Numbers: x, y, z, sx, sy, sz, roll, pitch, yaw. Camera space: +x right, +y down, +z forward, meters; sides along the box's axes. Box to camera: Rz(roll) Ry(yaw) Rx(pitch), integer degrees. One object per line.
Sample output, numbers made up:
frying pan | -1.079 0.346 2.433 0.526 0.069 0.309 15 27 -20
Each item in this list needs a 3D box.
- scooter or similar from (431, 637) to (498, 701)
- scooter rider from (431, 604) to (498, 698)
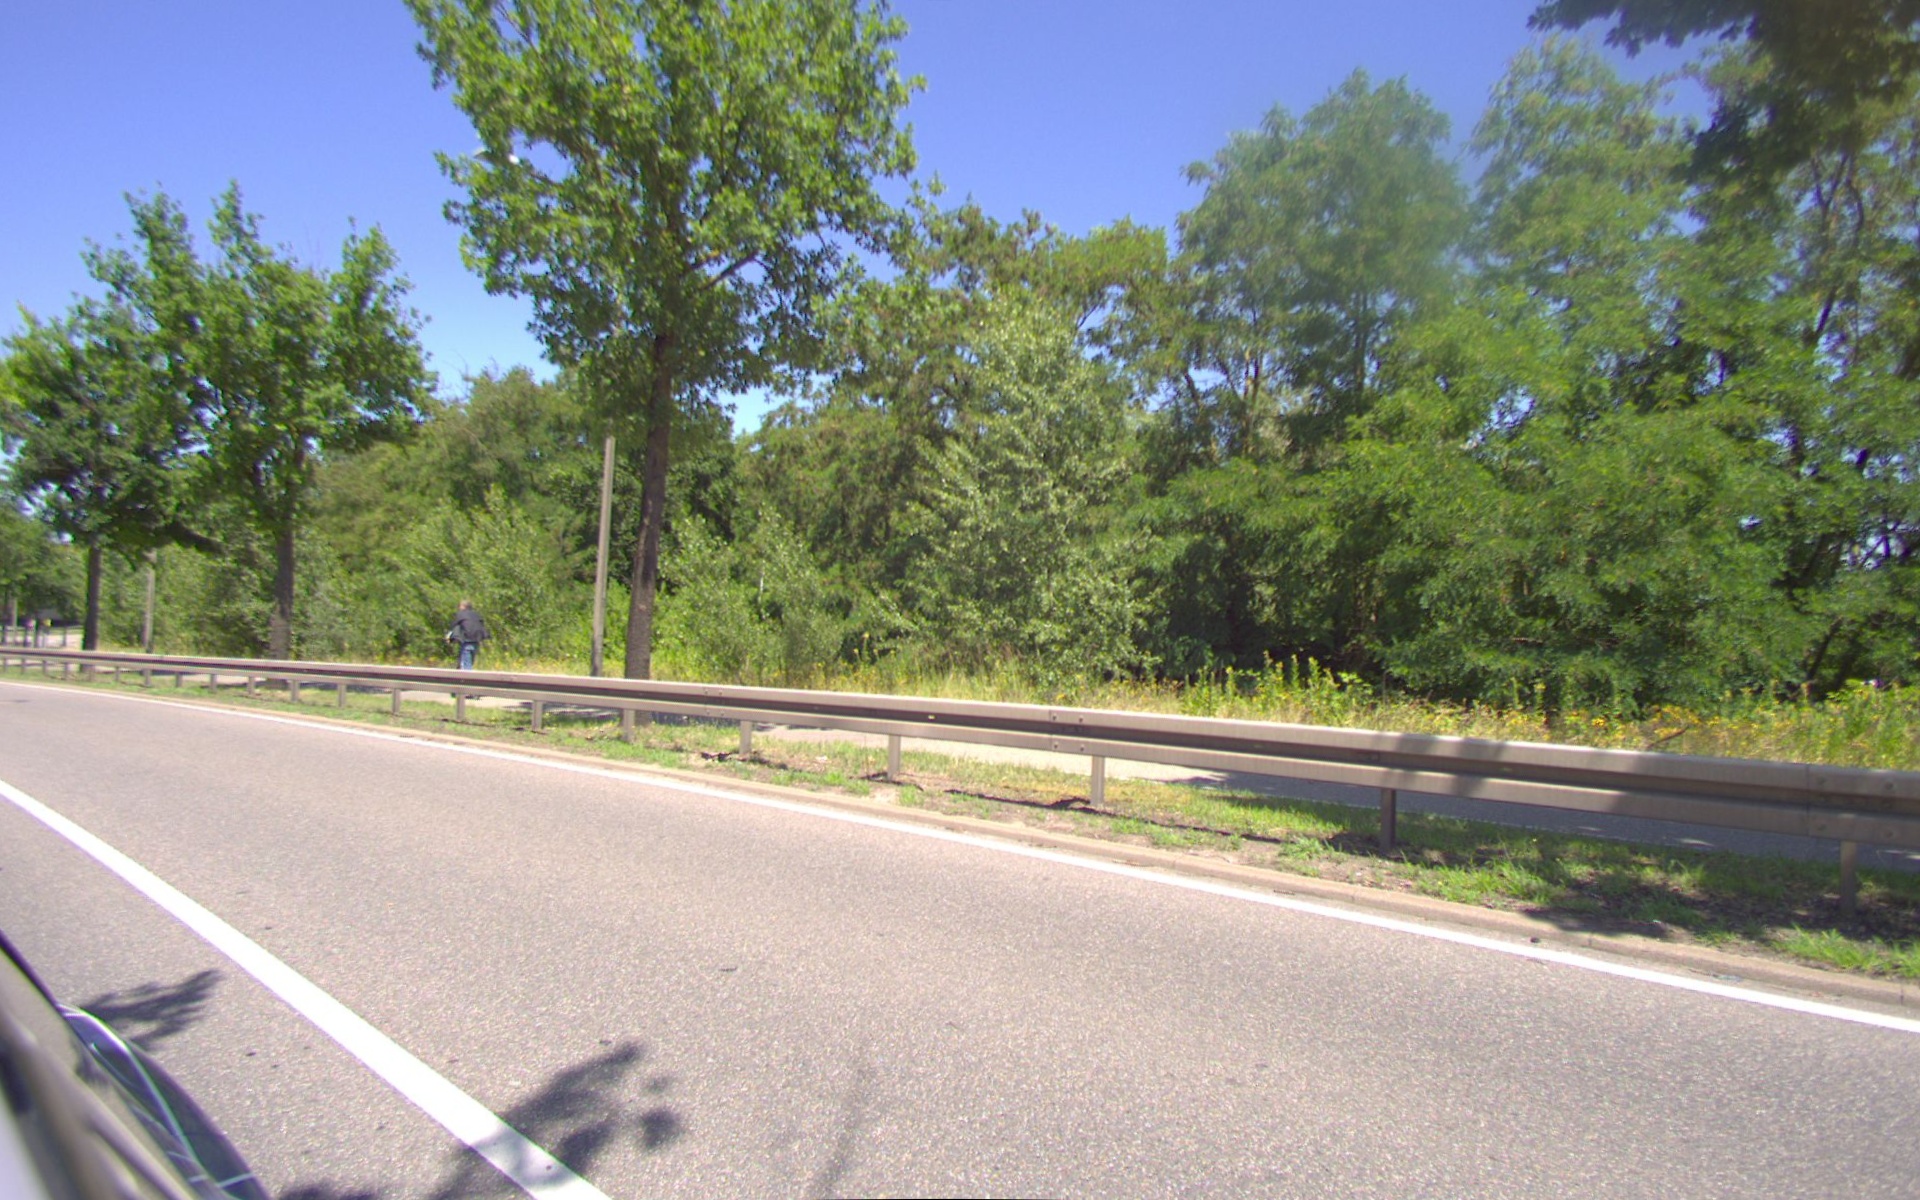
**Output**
scooter or similar | -9.200 1.259 18.784 1.095 1.099 0.768 -1 -1 42
scooter rider | -9.202 0.919 18.770 1.121 1.670 0.768 -1 -1 43
